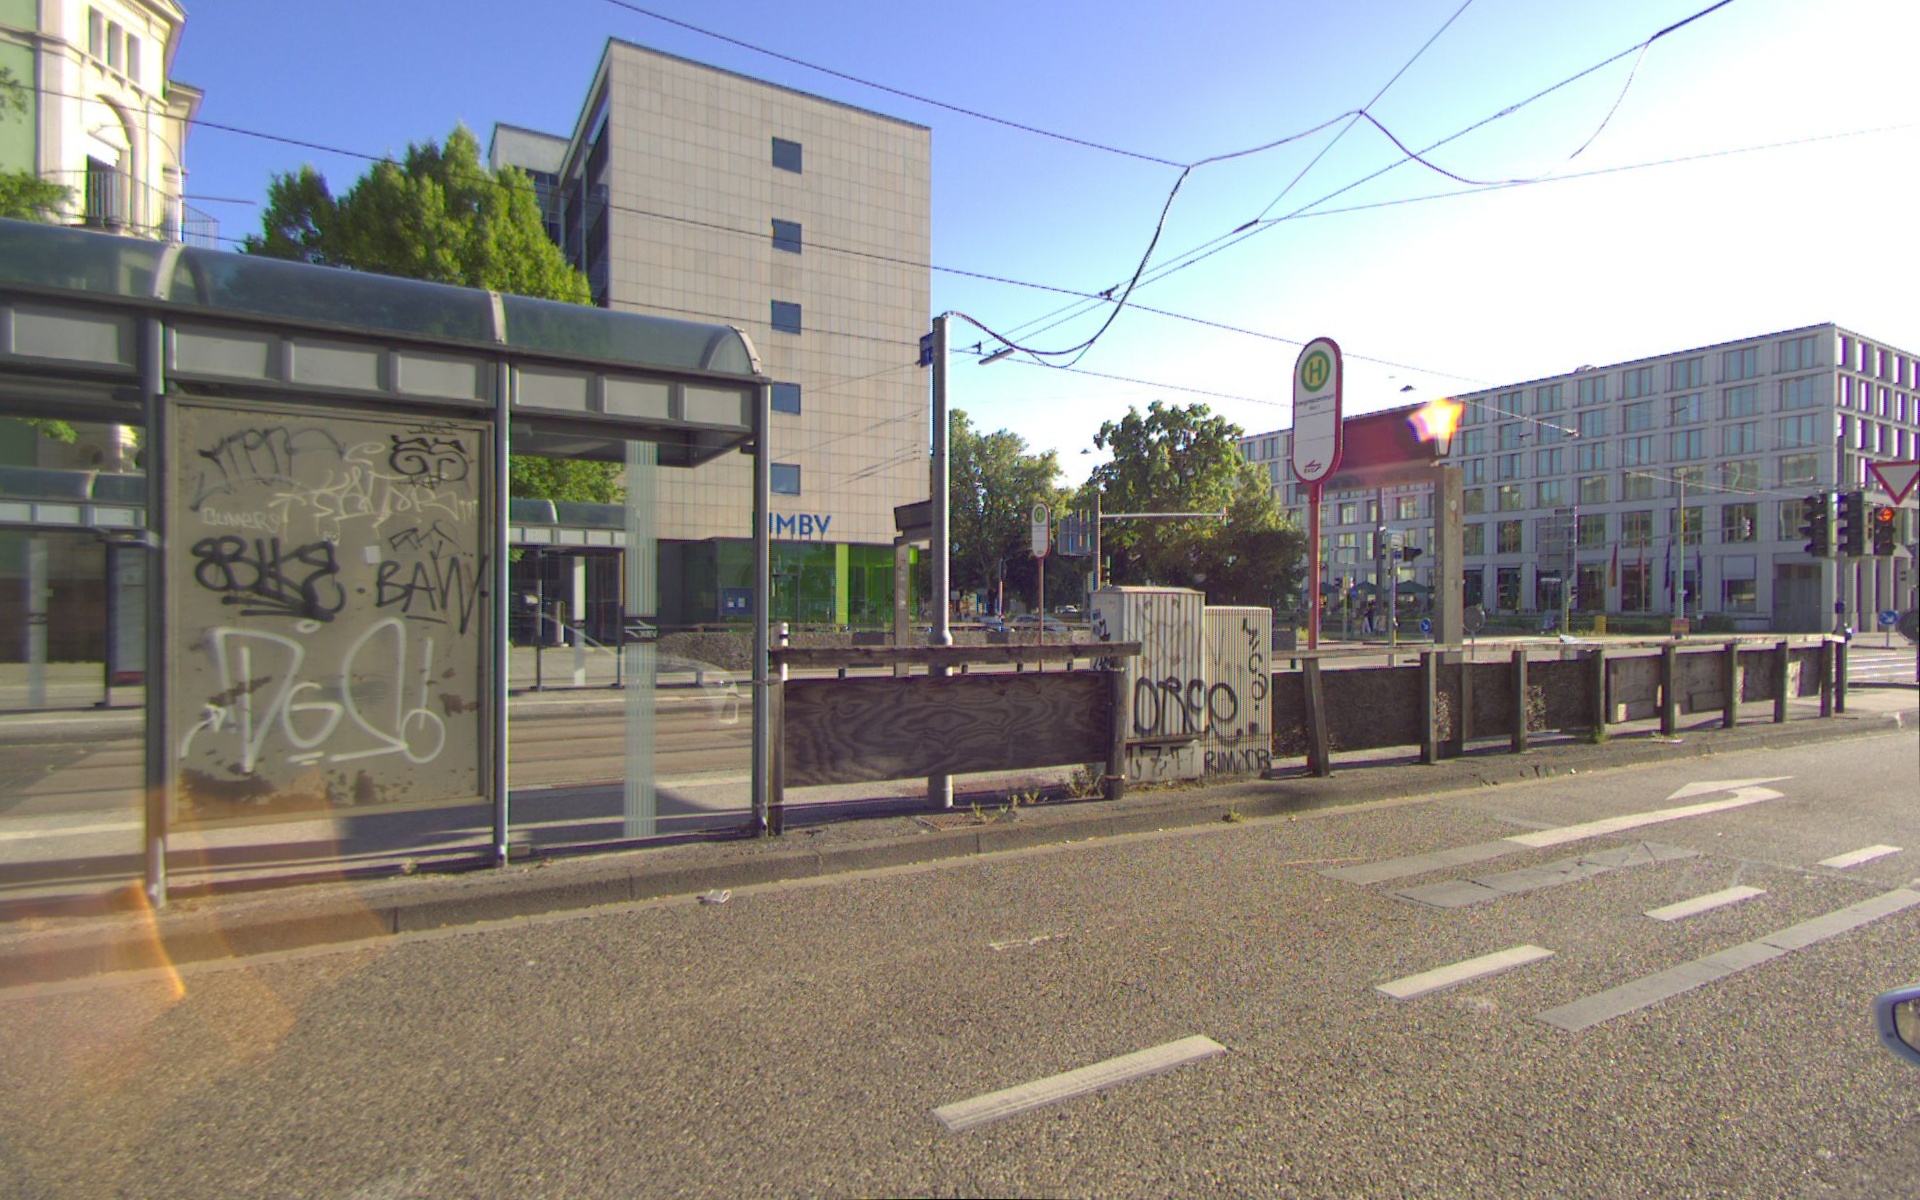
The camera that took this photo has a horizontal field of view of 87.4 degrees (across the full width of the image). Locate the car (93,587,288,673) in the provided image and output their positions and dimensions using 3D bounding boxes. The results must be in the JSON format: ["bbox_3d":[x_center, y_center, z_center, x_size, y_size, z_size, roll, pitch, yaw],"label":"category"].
[{"bbox_3d":[-16.544,0.588,21.545,4.432,1.590,1.588,2,0,28],"label":"car"}]

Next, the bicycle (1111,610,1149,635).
[{"bbox_3d":[8.196,1.079,48.490,0.780,1.137,1.916,1,-1,-28],"label":"bicycle"}]

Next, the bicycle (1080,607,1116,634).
[{"bbox_3d":[6.875,1.005,50.194,0.874,1.305,2.042,1,-1,-24],"label":"bicycle"}]

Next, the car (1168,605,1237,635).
[{"bbox_3d":[12.895,1.055,53.508,1.505,1.526,3.511,1,0,-32],"label":"car"}]
